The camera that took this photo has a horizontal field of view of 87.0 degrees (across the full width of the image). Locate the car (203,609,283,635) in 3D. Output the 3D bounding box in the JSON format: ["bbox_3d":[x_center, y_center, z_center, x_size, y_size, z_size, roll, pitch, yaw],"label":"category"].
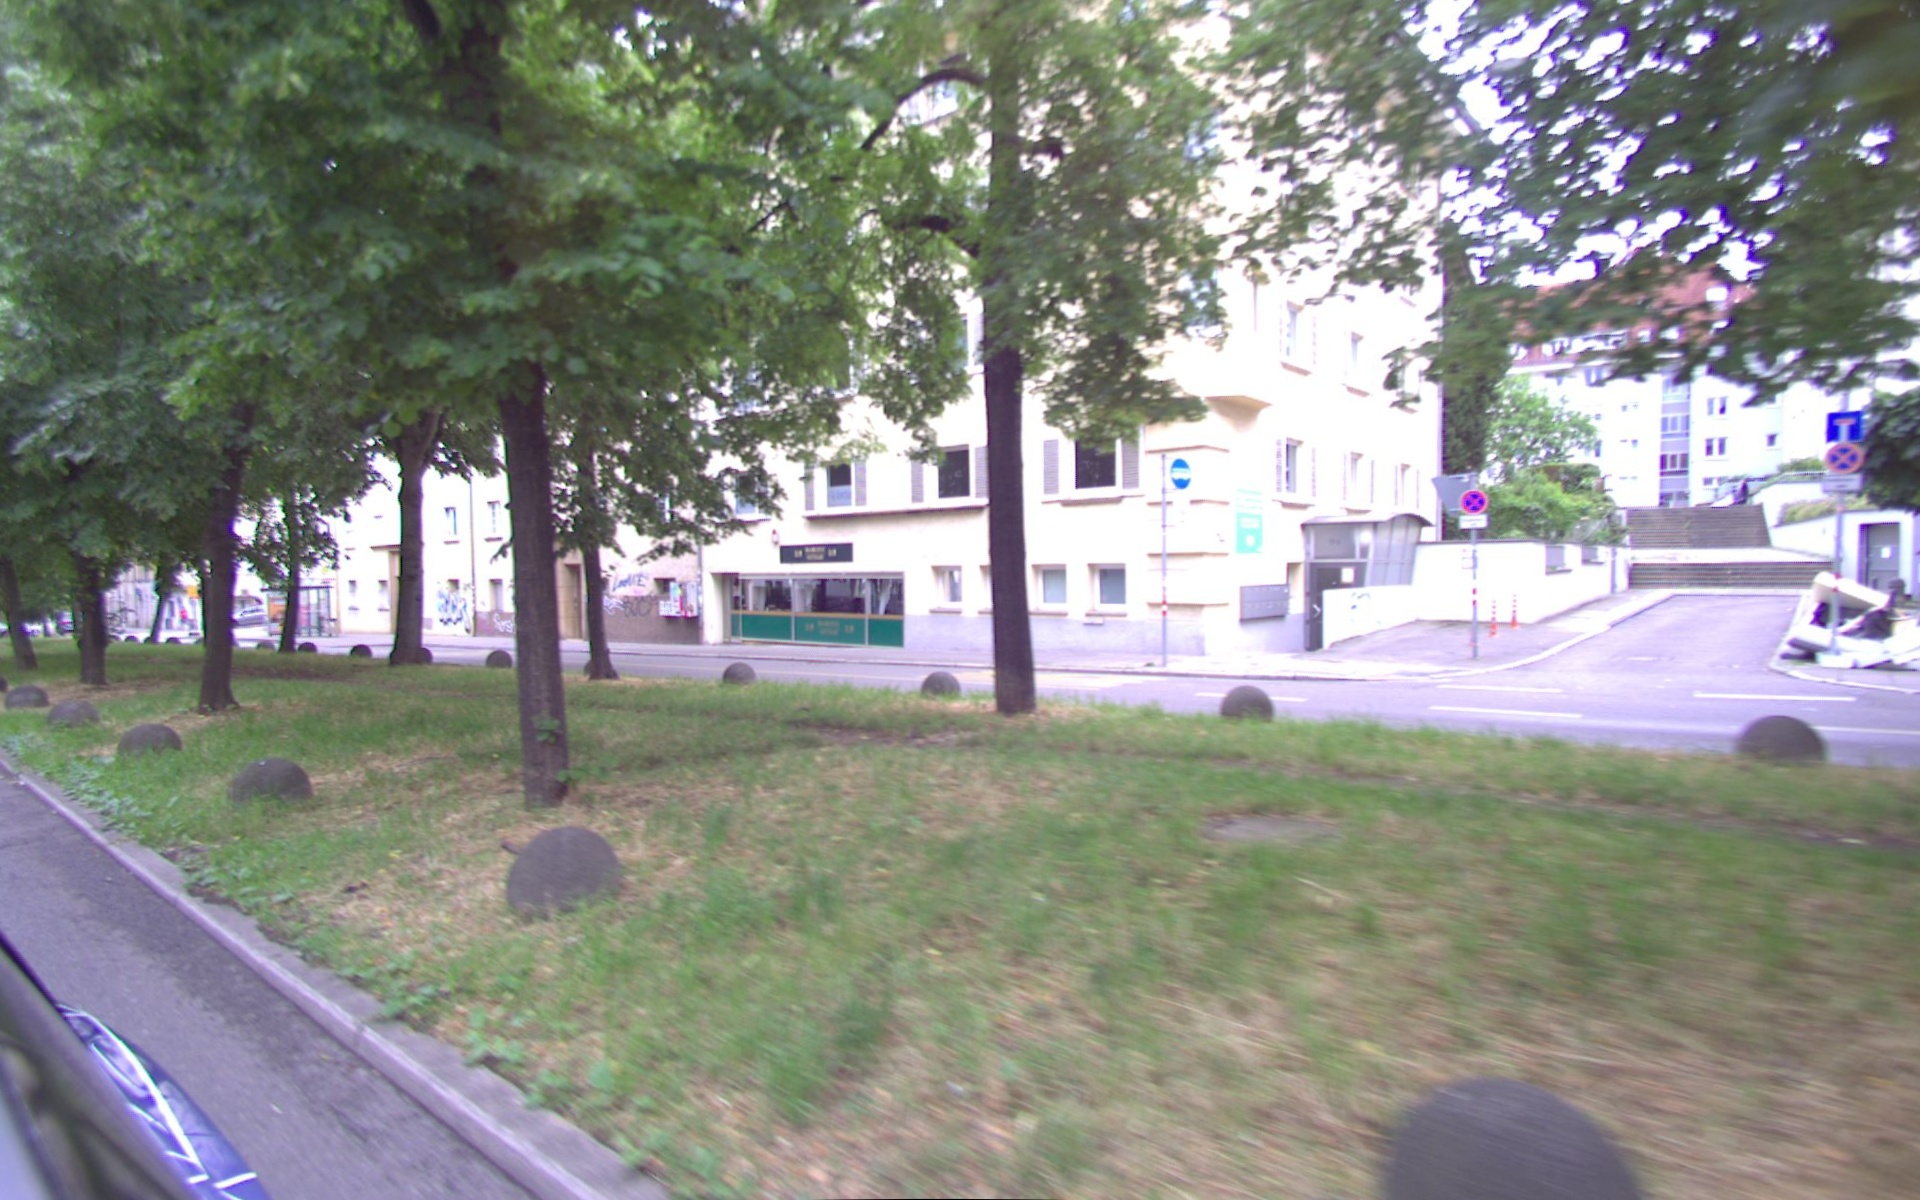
[{"bbox_3d":[-50.162,1.512,70.848,2.048,1.430,4.242,-2,2,44],"label":"car"}]

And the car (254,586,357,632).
[{"bbox_3d":[-42.633,0.539,66.084,2.169,2.757,5.137,-2,1,30],"label":"car"}]

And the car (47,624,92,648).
[{"bbox_3d":[-65.764,2.646,74.748,4.362,1.641,1.929,-2,-1,41],"label":"car"}]
